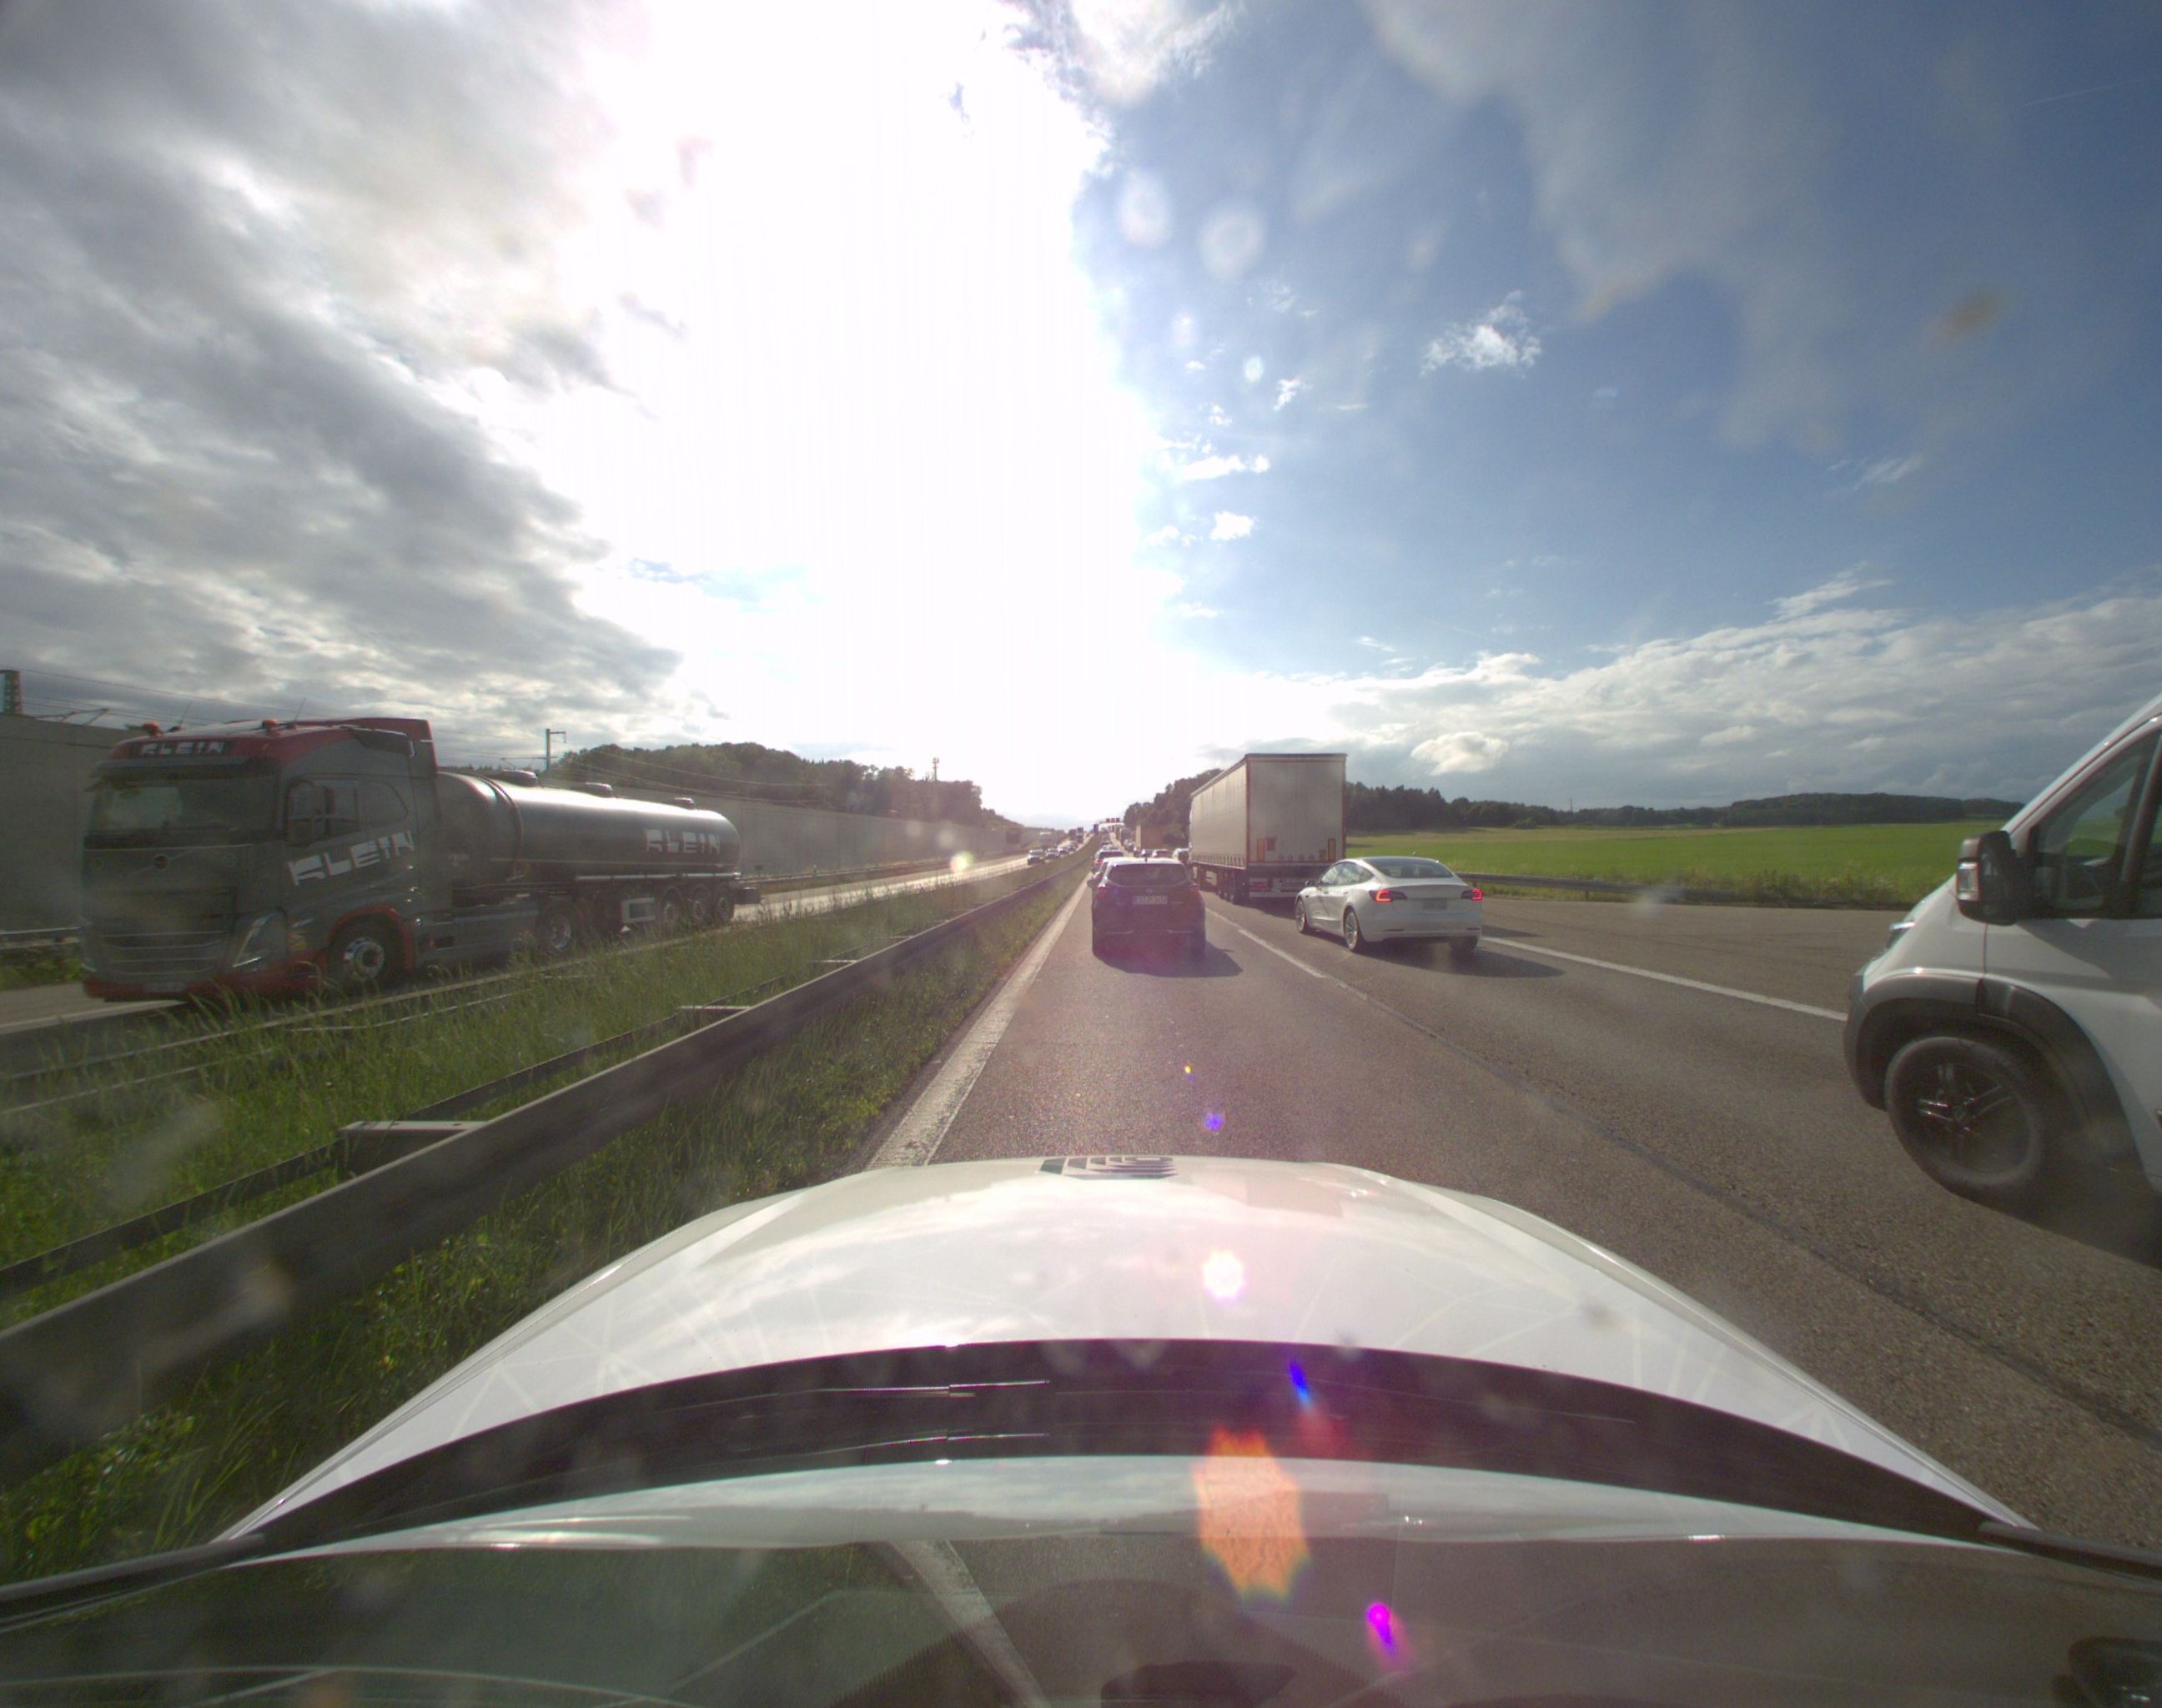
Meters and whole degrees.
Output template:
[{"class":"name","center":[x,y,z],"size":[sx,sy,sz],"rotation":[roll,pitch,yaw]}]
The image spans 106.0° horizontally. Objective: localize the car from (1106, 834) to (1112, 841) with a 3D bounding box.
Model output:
[{"class":"car","center":[8.667,-5.126,252.353],"size":[1.866,2.158,5.214],"rotation":[-1,3,2]}]

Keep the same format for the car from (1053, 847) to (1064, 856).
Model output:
[{"class":"car","center":[-3.905,-0.496,142.057],"size":[1.762,1.479,3.831],"rotation":[-1,-1,2]}]

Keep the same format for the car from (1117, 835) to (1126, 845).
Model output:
[{"class":"car","center":[9.932,-3.424,200.282],"size":[1.866,2.158,5.214],"rotation":[-1,3,2]}]

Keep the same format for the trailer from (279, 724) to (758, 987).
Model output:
[{"class":"trailer","center":[-10.739,0.048,17.845],"size":[2.579,3.902,10.867],"rotation":[-2,0,1]}]

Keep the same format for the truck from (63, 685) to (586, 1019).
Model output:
[{"class":"truck","center":[-10.875,-0.016,12.688],"size":[2.573,3.923,5.724],"rotation":[-2,0,2]}]

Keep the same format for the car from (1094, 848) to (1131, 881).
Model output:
[{"class":"car","center":[1.703,0.542,43.839],"size":[1.866,1.644,4.234],"rotation":[-1,0,2]}]

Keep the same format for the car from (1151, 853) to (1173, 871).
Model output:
[{"class":"car","center":[7.707,0.737,77.827],"size":[1.866,1.644,4.234],"rotation":[-2,0,2]}]

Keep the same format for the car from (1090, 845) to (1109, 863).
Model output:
[{"class":"car","center":[1.878,-0.025,83.216],"size":[1.866,1.644,4.234],"rotation":[-1,1,2]}]

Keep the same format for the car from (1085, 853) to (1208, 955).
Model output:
[{"class":"car","center":[1.034,0.740,14.036],"size":[1.766,1.451,4.234],"rotation":[-1,0,2]}]

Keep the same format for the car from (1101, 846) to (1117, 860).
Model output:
[{"class":"car","center":[3.512,-0.147,102.329],"size":[1.866,1.644,4.235],"rotation":[-1,1,2]}]

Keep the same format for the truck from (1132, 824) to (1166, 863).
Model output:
[{"class":"truck","center":[8.259,-1.145,100.813],"size":[3.286,4.577,12.440],"rotation":[0,-1,1]}]

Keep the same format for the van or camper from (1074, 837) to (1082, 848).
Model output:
[{"class":"van or camper","center":[-0.819,-3.223,231.540],"size":[2.082,2.819,5.897],"rotation":[0,-1,2]}]

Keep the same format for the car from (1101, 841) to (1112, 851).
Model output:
[{"class":"car","center":[4.475,-1.478,143.806],"size":[1.867,1.644,4.233],"rotation":[-1,1,1]}]

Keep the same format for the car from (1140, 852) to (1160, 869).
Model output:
[{"class":"car","center":[7.338,0.663,87.227],"size":[1.866,1.644,4.234],"rotation":[-1,0,2]}]

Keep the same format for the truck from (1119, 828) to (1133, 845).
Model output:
[{"class":"truck","center":[12.445,-4.924,225.705],"size":[3.452,4.577,12.442],"rotation":[0,1,1]}]

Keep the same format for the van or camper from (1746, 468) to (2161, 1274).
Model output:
[{"class":"van or camper","center":[4.663,0.034,1.225],"size":[2.207,2.681,6.334],"rotation":[-1,0,1]}]

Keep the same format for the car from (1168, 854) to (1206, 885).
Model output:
[{"class":"car","center":[5.768,0.821,44.669],"size":[1.690,1.610,4.440],"rotation":[-1,0,3]}]

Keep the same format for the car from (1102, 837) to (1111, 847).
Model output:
[{"class":"car","center":[5.835,-2.767,187.803],"size":[1.866,2.158,5.214],"rotation":[-1,3,2]}]

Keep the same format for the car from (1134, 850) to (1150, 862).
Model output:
[{"class":"car","center":[8.419,0.245,111.986],"size":[1.867,1.644,4.231],"rotation":[-1,0,0]}]

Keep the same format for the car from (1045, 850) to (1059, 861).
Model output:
[{"class":"car","center":[-4.006,0.251,113.639],"size":[1.691,1.499,4.428],"rotation":[-1,0,1]}]

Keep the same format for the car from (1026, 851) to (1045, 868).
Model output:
[{"class":"car","center":[-5.019,0.626,90.235],"size":[1.774,1.737,4.104],"rotation":[-1,0,2]}]

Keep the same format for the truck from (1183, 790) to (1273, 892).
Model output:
[{"class":"truck","center":[6.165,-0.474,34.969],"size":[3.121,4.016,5.166],"rotation":[-1,-1,2]}]

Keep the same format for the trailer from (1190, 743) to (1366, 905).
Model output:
[{"class":"trailer","center":[5.806,-0.618,27.025],"size":[3.118,4.011,13.373],"rotation":[-1,-1,2]}]

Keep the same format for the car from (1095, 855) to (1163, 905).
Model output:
[{"class":"car","center":[1.414,0.734,24.969],"size":[1.866,1.358,4.234],"rotation":[-1,0,2]}]

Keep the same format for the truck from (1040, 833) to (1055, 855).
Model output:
[{"class":"truck","center":[-6.419,-1.889,155.900],"size":[2.371,4.181,5.934],"rotation":[-2,0,2]}]

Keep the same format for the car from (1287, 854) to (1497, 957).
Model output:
[{"class":"car","center":[4.878,0.717,13.529],"size":[1.783,1.394,4.436],"rotation":[-1,0,0]}]

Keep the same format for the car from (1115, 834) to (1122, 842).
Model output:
[{"class":"car","center":[11.735,-4.990,255.468],"size":[1.866,2.158,5.214],"rotation":[-1,3,2]}]

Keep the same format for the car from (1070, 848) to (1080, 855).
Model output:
[{"class":"car","center":[-1.204,-0.539,162.376],"size":[1.735,1.358,4.234],"rotation":[-1,0,2]}]

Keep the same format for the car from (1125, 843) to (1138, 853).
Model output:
[{"class":"car","center":[8.881,-1.012,143.020],"size":[1.868,1.644,4.230],"rotation":[-1,1,-1]}]
